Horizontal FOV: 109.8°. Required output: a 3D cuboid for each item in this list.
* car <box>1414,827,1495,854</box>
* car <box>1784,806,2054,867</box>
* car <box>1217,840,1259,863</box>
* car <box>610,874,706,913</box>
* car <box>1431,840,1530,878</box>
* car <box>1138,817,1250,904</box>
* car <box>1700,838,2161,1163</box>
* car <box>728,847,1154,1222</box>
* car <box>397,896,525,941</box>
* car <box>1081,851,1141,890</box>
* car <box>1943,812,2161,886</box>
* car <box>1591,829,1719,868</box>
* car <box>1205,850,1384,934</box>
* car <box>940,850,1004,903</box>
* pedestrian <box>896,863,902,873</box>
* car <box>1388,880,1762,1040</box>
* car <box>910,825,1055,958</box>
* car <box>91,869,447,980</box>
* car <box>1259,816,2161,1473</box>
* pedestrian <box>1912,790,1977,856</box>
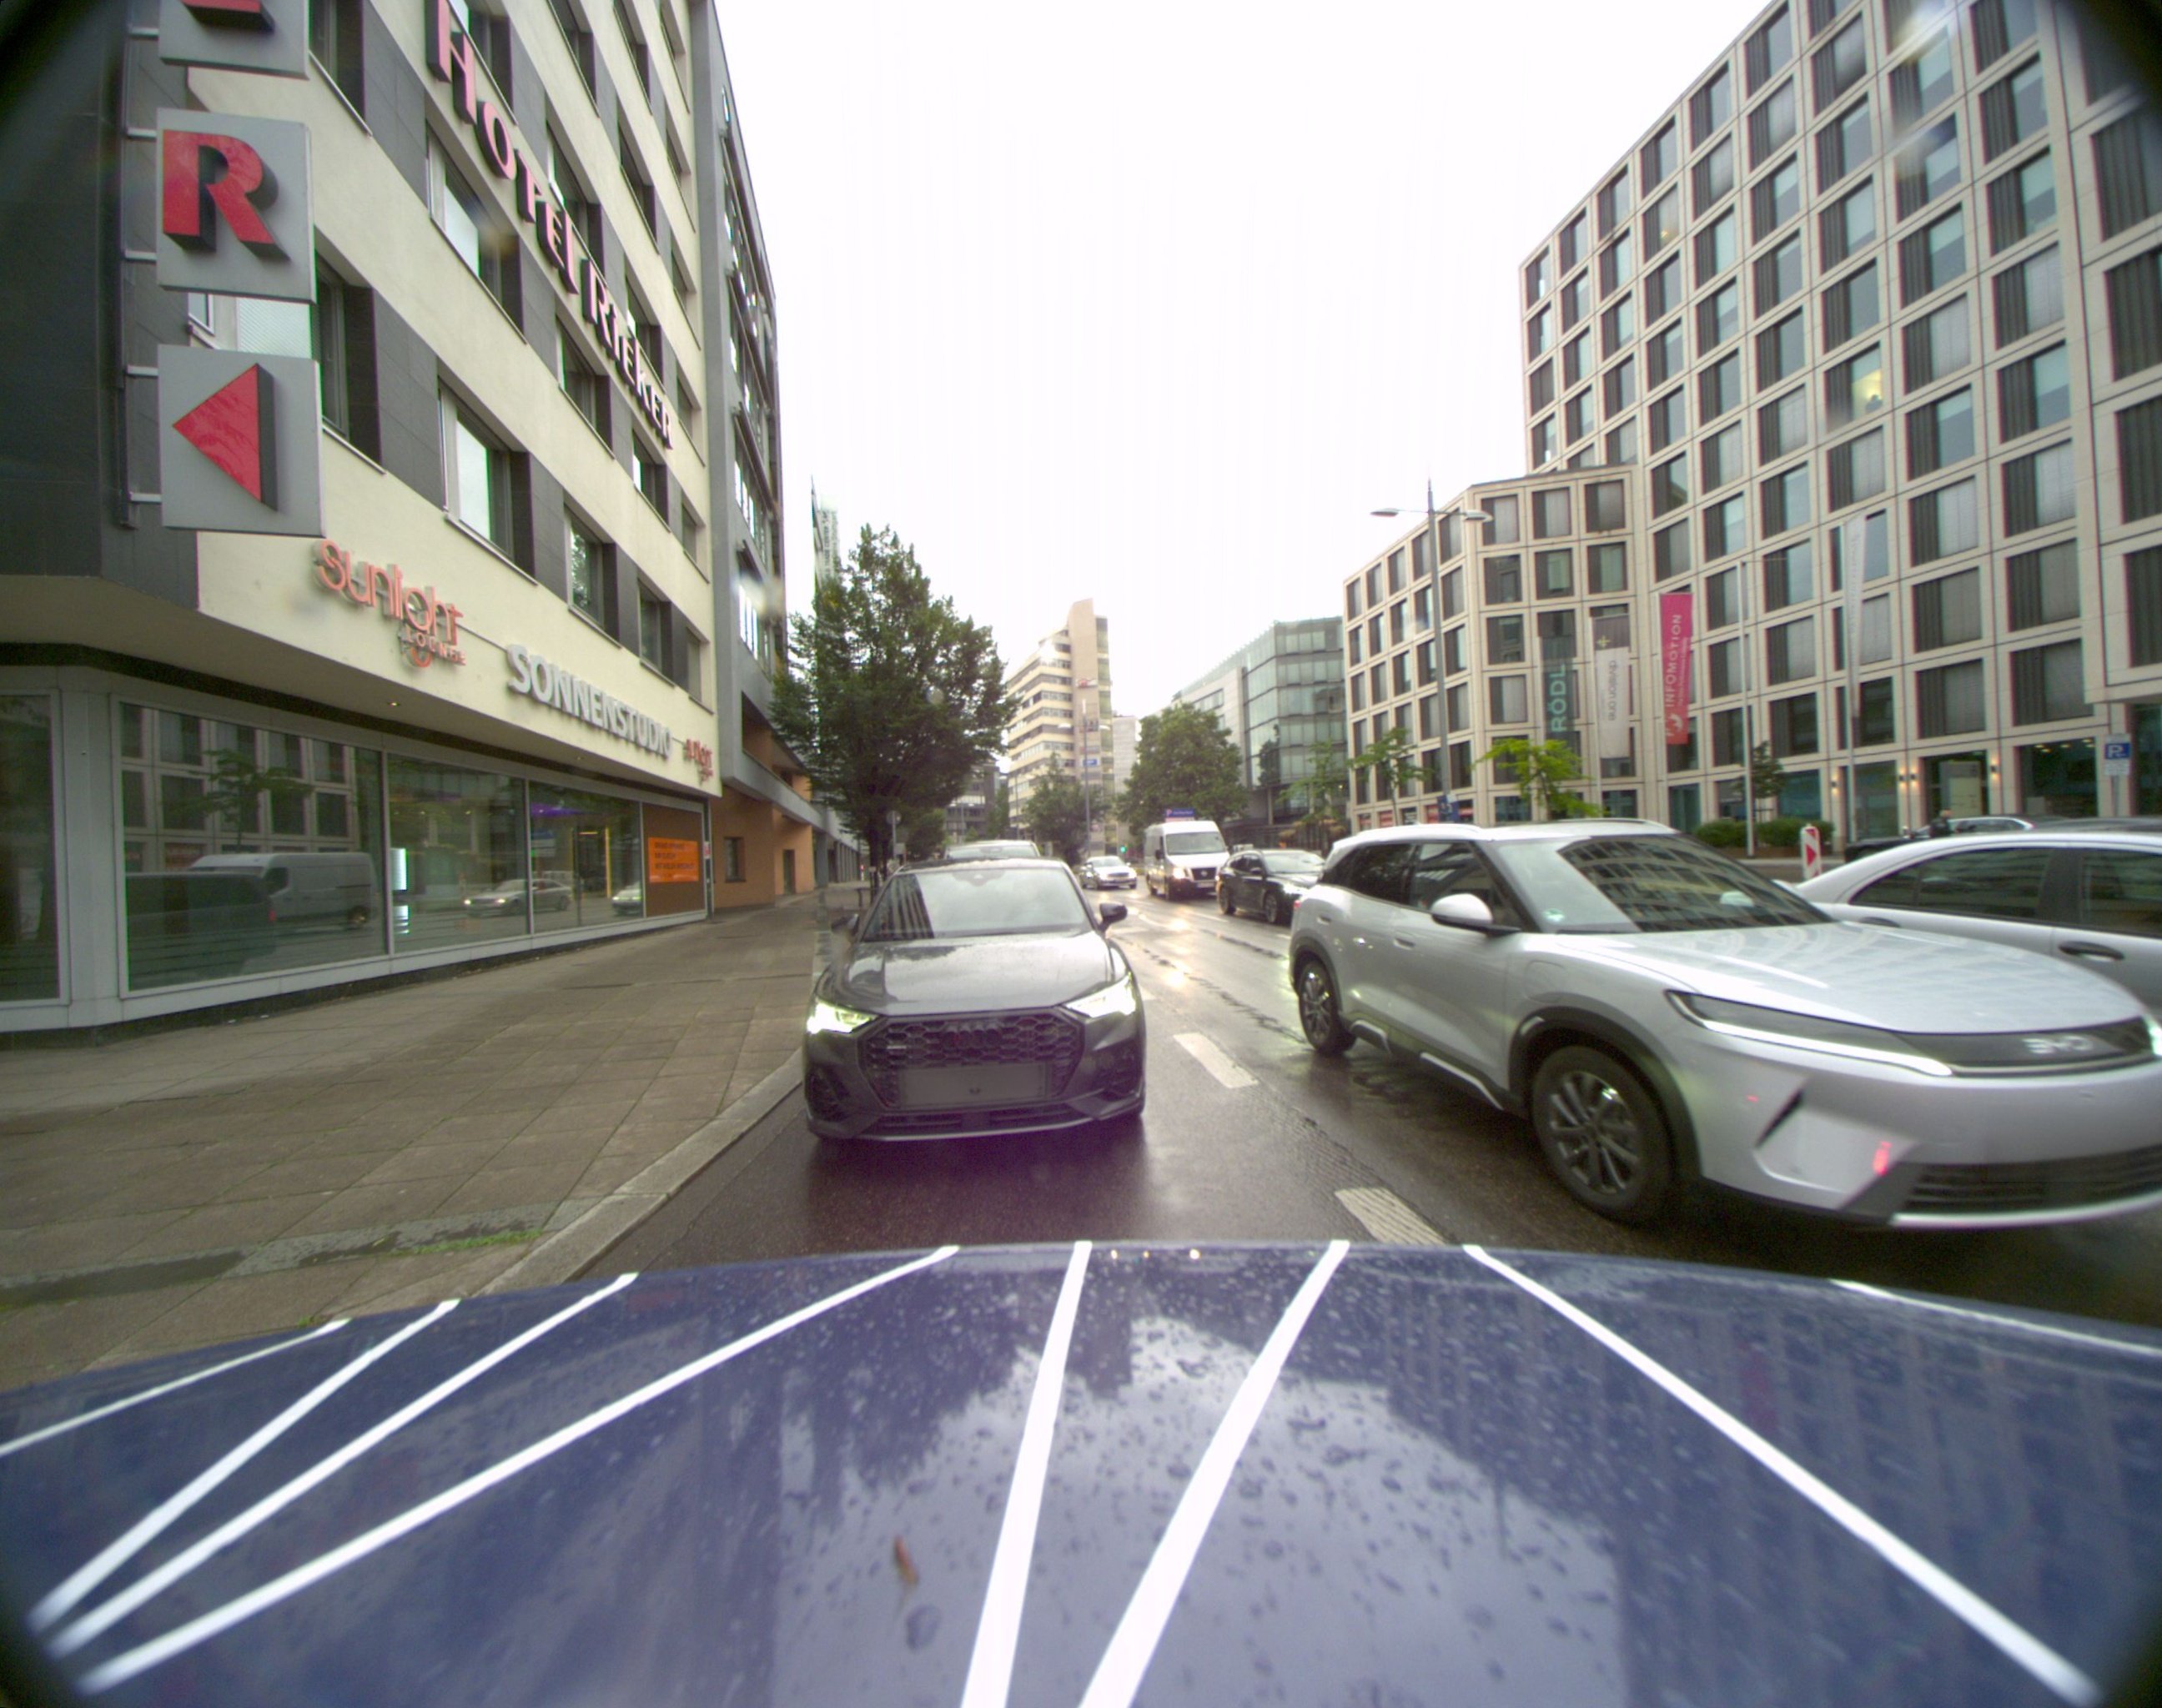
[{"bbox_3d":[20.691,-0.708,42.301,1.703,1.415,4.369,-1,0,-12],"label":"car"},{"bbox_3d":[24.260,-0.456,22.361,1.703,1.560,5.178,-1,0,-12],"label":"car"},{"bbox_3d":[15.045,-0.220,73.097,2.000,2.002,4.910,-4,1,-13],"label":"car"},{"bbox_3d":[-16.638,1.510,30.118,1.721,1.187,3.998,-3,1,-4],"label":"car"},{"bbox_3d":[17.182,0.190,32.864,1.703,1.510,3.870,-1,0,-12],"label":"car"},{"bbox_3d":[3.483,0.150,24.780,2.260,2.371,5.716,-3,1,-4],"label":"car"},{"bbox_3d":[5.761,0.664,3.617,1.738,1.396,4.380,-3,1,-6],"label":"car"},{"bbox_3d":[-0.761,0.780,5.606,1.802,1.543,4.385,-3,1,-4],"label":"car"},{"bbox_3d":[-23.819,2.456,29.326,3.391,1.322,1.564,-4,1,-15],"label":"car"},{"bbox_3d":[1.250,0.686,33.606,1.786,1.499,3.996,-4,1,-10],"label":"car"},{"bbox_3d":[22.519,-0.109,17.150,1.704,1.510,3.683,-1,0,-15],"label":"car"},{"bbox_3d":[22.983,-0.206,30.609,1.703,1.415,3.951,-1,0,-12],"label":"car"},{"bbox_3d":[4.248,0.675,15.921,1.906,1.393,4.237,-4,1,-10],"label":"car"},{"bbox_3d":[-4.624,0.847,31.579,2.061,1.881,5.042,-4,1,-13],"label":"car"},{"bbox_3d":[-29.489,2.263,122.996,0.654,1.589,1.057,-4,2,-18],"label":"pedestrian"},{"bbox_3d":[6.366,1.228,10.445,1.776,1.470,4.121,-4,1,-16],"label":"car"},{"bbox_3d":[-1.706,0.529,13.975,2.060,1.881,5.045,-3,1,-5],"label":"car"},{"bbox_3d":[-15.826,1.249,15.371,1.999,1.600,4.924,-3,1,-4],"label":"car"},{"bbox_3d":[2.649,0.731,4.165,1.814,1.651,4.167,-4,1,-8],"label":"car"},{"bbox_3d":[23.556,-0.838,20.730,0.614,1.724,0.966,-4,2,-13],"label":"pedestrian"}]
